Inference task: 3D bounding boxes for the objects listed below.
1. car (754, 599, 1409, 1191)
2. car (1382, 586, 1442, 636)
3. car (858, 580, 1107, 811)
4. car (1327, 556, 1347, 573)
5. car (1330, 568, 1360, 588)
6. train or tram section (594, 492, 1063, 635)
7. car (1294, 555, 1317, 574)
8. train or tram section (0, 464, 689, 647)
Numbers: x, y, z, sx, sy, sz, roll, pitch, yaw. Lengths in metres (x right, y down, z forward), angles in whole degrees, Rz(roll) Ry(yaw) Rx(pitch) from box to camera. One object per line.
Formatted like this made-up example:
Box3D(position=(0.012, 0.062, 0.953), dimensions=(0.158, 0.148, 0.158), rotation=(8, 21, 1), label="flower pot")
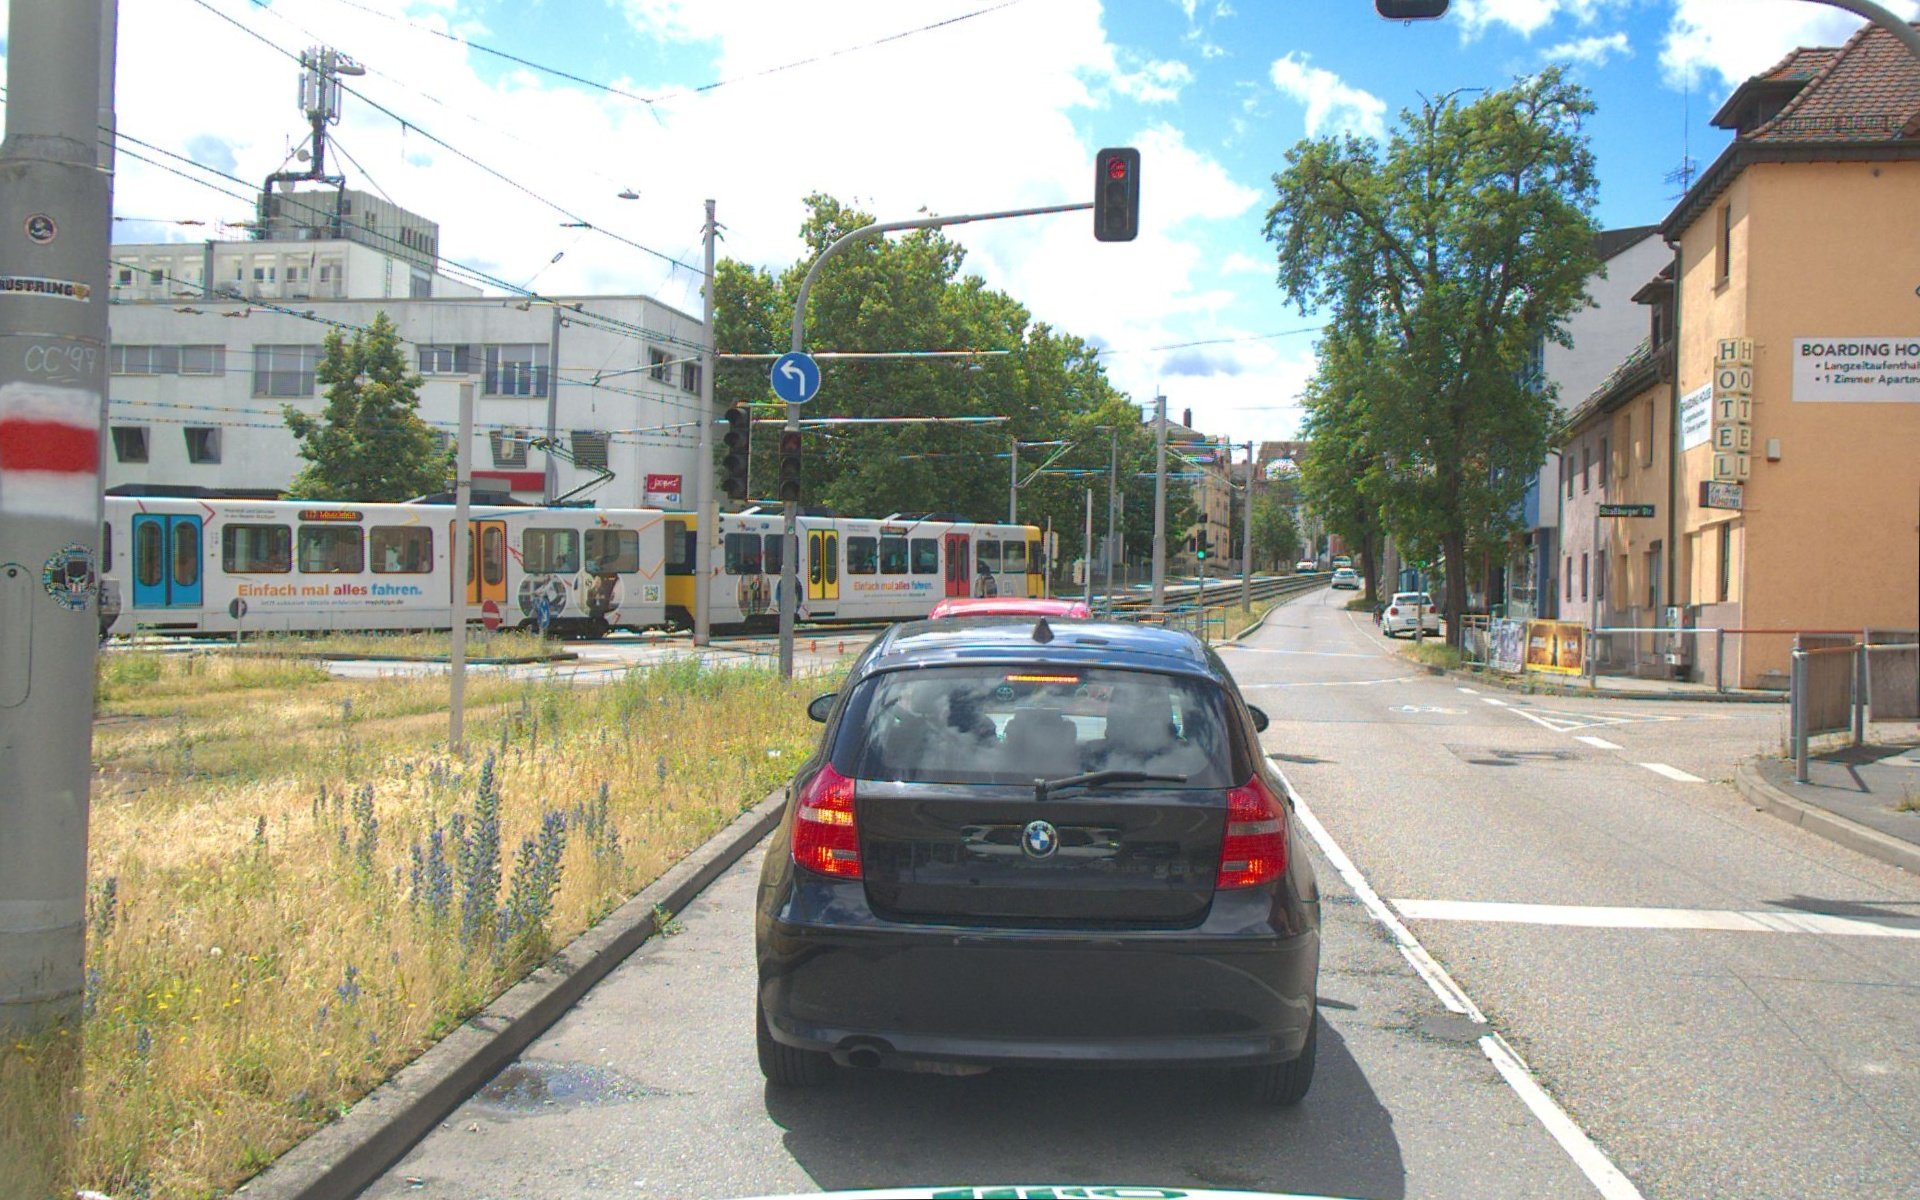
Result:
Box3D(position=(0.214, 0.761, 6.204), dimensions=(1.667, 1.477, 3.997), rotation=(0, -1, -3), label="car")
Box3D(position=(15.274, 0.376, 56.045), dimensions=(1.749, 1.624, 4.003), rotation=(0, -1, 12), label="car")
Box3D(position=(0.318, 0.644, 12.817), dimensions=(1.590, 1.499, 4.002), rotation=(0, -1, 6), label="car")
Box3D(position=(47.399, -4.451, 207.834), dimensions=(1.952, 2.049, 4.000), rotation=(-1, -1, 21), label="car")
Box3D(position=(28.816, -1.650, 123.703), dimensions=(1.777, 1.494, 4.001), rotation=(0, 0, 20), label="car")
Box3D(position=(-3.264, -0.905, 53.985), dimensions=(3.684, 3.881, 19.986), rotation=(-1, -1, 34), label="train or tram section")
Box3D(position=(39.398, -4.034, 188.407), dimensions=(1.952, 2.049, 4.000), rotation=(-1, -1, 21), label="car")
Box3D(position=(-16.723, -0.922, 40.472), dimensions=(20.392, 3.947, 3.716), rotation=(0, -1, -35), label="train or tram section")
